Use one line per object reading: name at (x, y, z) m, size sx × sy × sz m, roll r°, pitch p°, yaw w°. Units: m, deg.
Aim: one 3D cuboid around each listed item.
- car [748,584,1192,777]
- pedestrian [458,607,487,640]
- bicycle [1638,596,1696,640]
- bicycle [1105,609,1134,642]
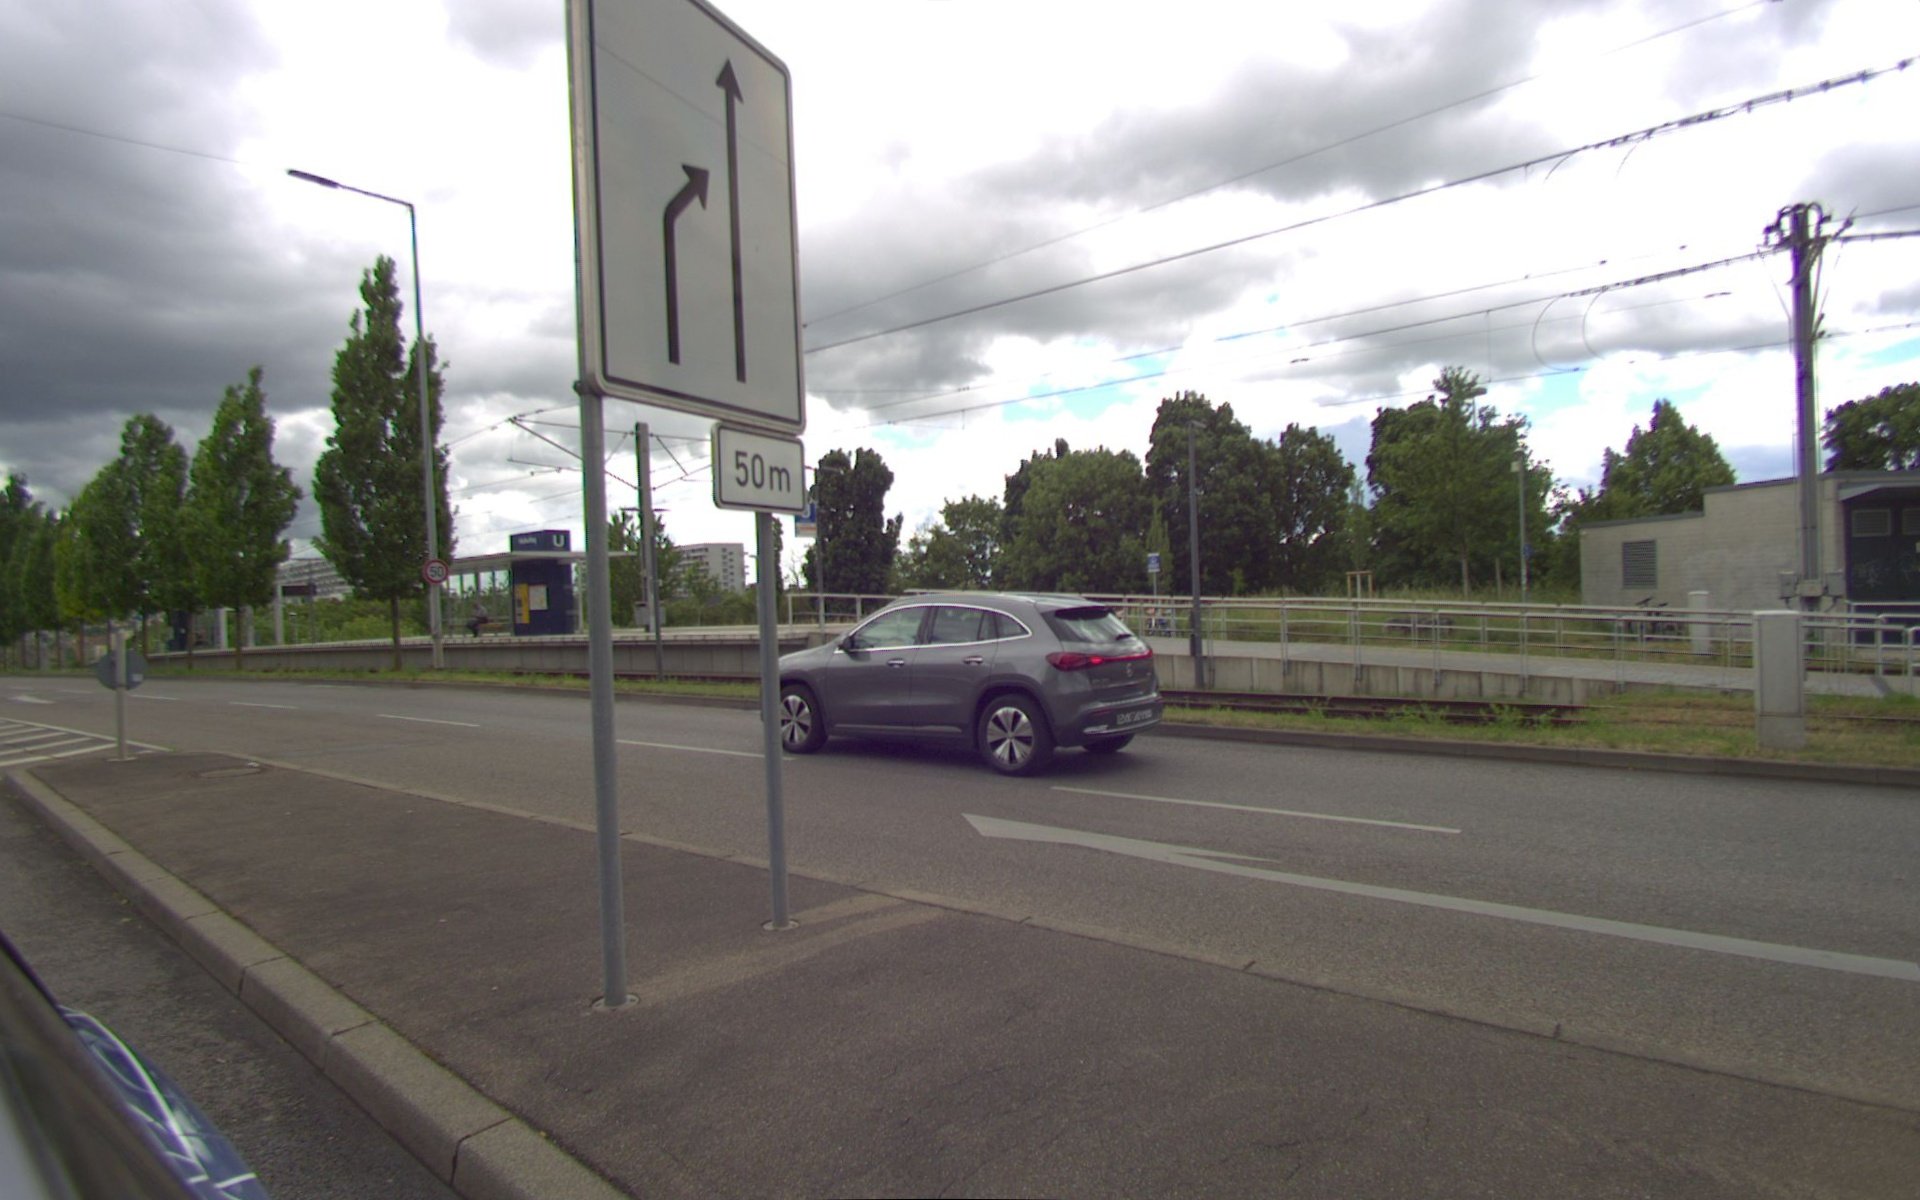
car at (-0.020, 0.694, 10.146) m, size 4.217 × 1.558 × 1.762 m, roll -2°, pitch -1°, yaw 37°
pedestrian at (-18.257, 0.878, 37.872) m, size 0.781 × 1.211 × 0.656 m, roll -2°, pitch -1°, yaw 33°
bicycle at (18.187, 0.459, 26.056) m, size 0.486 × 1.095 × 1.480 m, roll -1°, pitch -1°, yaw 3°
bicycle at (5.433, 0.868, 34.457) m, size 0.490 × 1.095 × 1.466 m, roll -2°, pitch -1°, yaw 30°
